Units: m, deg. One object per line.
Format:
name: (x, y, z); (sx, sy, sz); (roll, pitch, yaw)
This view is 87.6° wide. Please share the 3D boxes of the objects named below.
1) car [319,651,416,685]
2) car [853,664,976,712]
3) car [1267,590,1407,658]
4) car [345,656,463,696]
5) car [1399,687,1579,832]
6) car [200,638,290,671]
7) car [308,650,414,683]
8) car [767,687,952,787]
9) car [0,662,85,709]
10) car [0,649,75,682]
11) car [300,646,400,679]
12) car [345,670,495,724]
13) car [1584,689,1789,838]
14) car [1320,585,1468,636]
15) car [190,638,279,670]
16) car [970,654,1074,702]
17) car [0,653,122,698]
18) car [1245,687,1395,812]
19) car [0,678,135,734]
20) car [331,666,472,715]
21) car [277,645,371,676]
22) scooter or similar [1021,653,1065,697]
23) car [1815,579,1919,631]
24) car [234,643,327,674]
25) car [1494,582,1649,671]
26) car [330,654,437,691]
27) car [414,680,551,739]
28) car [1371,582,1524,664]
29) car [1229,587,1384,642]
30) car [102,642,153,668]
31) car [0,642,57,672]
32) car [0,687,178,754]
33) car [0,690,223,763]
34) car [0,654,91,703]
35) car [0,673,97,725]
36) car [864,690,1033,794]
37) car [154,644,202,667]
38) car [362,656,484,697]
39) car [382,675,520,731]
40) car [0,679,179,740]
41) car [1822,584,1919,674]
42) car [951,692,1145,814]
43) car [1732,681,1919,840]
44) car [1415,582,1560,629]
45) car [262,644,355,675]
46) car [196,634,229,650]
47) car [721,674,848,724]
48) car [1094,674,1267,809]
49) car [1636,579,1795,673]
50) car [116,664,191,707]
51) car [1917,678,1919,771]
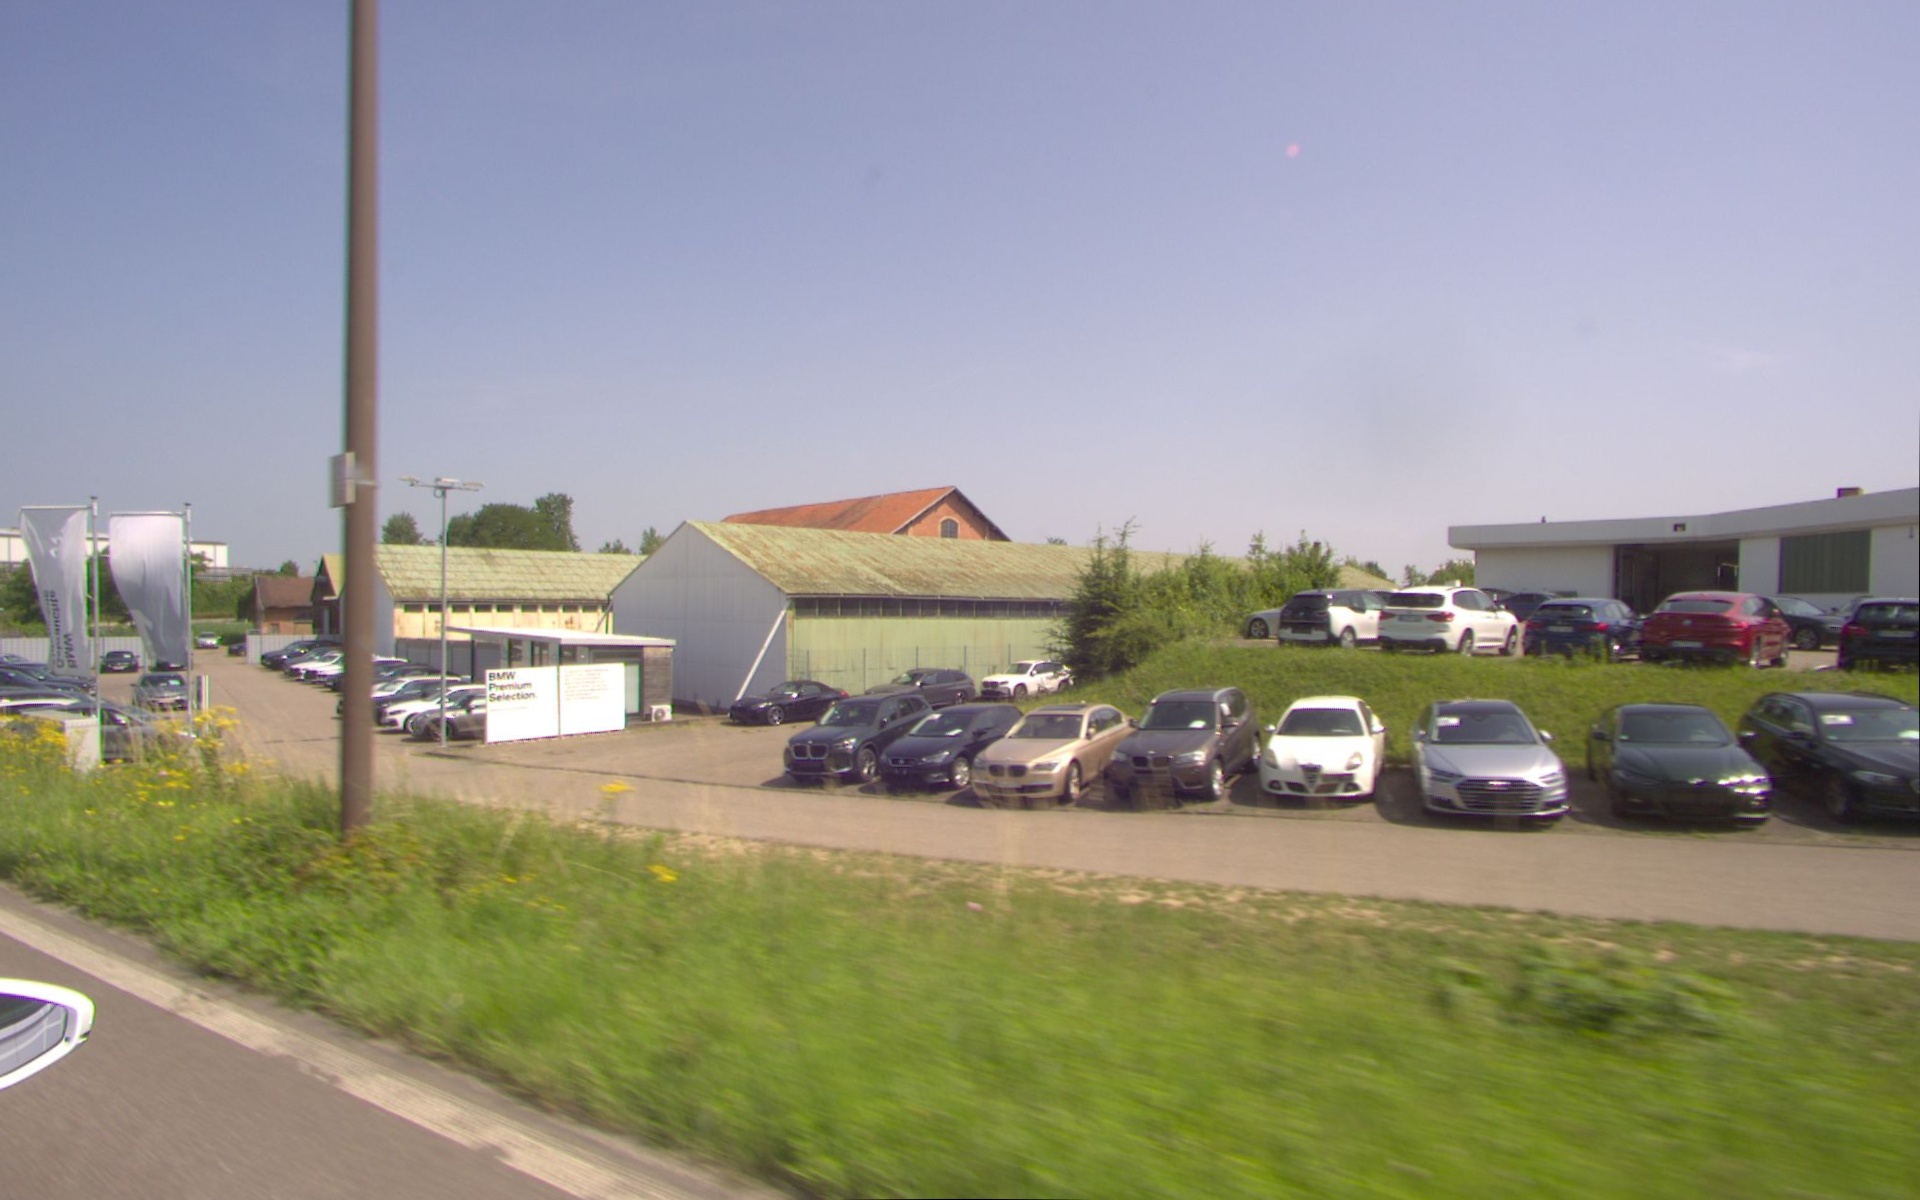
car: (-30.431, 3.468, 51.556); (1.731, 1.543, 3.994); (-1, -1, 28)
car: (-1.631, 3.202, 37.106); (4.416, 1.490, 1.964); (2, -2, -44)
car: (9.435, 0.535, 24.962); (3.848, 1.553, 1.751); (-1, 1, -43)
car: (-26.209, 3.542, 47.403); (1.902, 1.543, 4.600); (-1, -1, 28)
car: (8.183, 2.377, 15.908); (1.890, 1.485, 4.423); (-3, 1, 20)
car: (-45.288, 3.423, 63.508); (1.879, 1.828, 4.326); (1, 0, 23)
car: (-32.498, 3.565, 54.457); (1.882, 1.543, 4.642); (-1, -1, 28)
car: (-2.079, 2.914, 22.140); (2.113, 1.661, 4.482); (-2, -1, 24)
car: (-33.803, 2.978, 34.929); (4.570, 1.543, 1.850); (1, -1, -25)
car: (-49.403, 3.406, 52.202); (4.574, 1.626, 1.848); (1, 0, -28)
car: (-34.470, 3.495, 56.743); (1.879, 1.543, 4.601); (1, 0, 23)
car: (-19.414, 3.433, 36.154); (1.905, 1.543, 4.414); (0, 0, 34)
car: (10.751, 2.310, 15.151); (1.894, 1.431, 4.242); (-3, 1, 28)
car: (14.827, 0.322, 34.384); (1.901, 1.617, 4.266); (-1, 1, -40)
car: (-47.355, 3.491, 65.476); (1.965, 1.828, 4.326); (1, 0, 23)
car: (2.587, 3.146, 41.119); (4.276, 1.752, 1.903); (1, -2, -44)
car: (-38.953, 3.216, 42.972); (4.163, 1.724, 1.914); (1, 1, -19)
car: (6.443, 2.488, 17.599); (1.845, 1.484, 4.243); (-3, 0, 28)
car: (-28.515, 3.272, 31.103); (4.109, 1.543, 1.848); (1, -1, -27)
car: (-21.577, 3.457, 38.848); (1.909, 1.543, 4.407); (-1, -1, 39)
car: (-36.827, 3.477, 58.140); (1.879, 1.543, 4.326); (1, 0, 23)
scooter or similar: (2.747, 2.453, 33.073); (0.614, 1.331, 1.971); (0, -1, 32)
car: (29.215, 0.121, 32.090); (4.415, 1.543, 1.934); (-1, 1, -38)
car: (-41.065, 3.522, 60.643); (1.879, 1.597, 4.326); (1, 0, 23)
car: (13.638, 0.507, 22.224); (4.422, 1.770, 1.821); (-1, 1, -43)
car: (-28.433, 3.545, 49.540); (1.769, 1.543, 4.310); (-1, -1, 28)
car: (-14.837, 3.356, 31.155); (3.748, 1.543, 1.743); (1, -1, -29)
car: (11.610, 0.478, 23.720); (4.422, 1.770, 1.821); (-1, 1, -43)
car: (10.840, 0.417, 31.542); (1.901, 1.617, 4.266); (-1, 1, -40)
car: (-54.149, 3.541, 65.208); (1.830, 1.554, 4.619); (1, -1, -30)
car: (-54.115, 3.194, 56.300); (4.570, 1.518, 1.849); (1, 1, -25)
car: (-23.913, 3.222, 27.054); (4.109, 1.543, 1.744); (1, -1, -27)
car: (-21.323, 3.136, 25.255); (4.104, 1.543, 1.685); (1, -1, -23)
car: (-37.387, 3.066, 39.314); (4.568, 1.724, 1.850); (1, 1, -23)
car: (-31.345, 3.269, 32.933); (4.109, 1.543, 1.848); (1, -1, -27)
car: (-0.121, 2.843, 20.789); (1.968, 1.572, 3.987); (-3, -1, 24)
car: (-51.980, 3.673, 66.630); (1.972, 1.416, 3.979); (1, -1, -30)
car: (-24.278, 3.423, 45.440); (1.902, 1.543, 4.600); (-1, -1, 28)
car: (-17.052, 3.401, 33.602); (3.921, 1.543, 1.739); (0, -1, -36)
car: (-25.788, 3.180, 29.471); (4.110, 1.543, 1.848); (1, -1, -28)
car: (18.999, 0.520, 20.232); (4.422, 1.657, 1.931); (-1, 1, -43)
car: (1.855, 2.801, 19.330); (1.970, 1.528, 4.760); (-3, 0, 28)
car: (13.003, 2.148, 14.269); (1.890, 1.502, 4.251); (-3, 1, 19)
car: (19.392, 0.185, 36.938); (2.170, 1.617, 4.266); (-1, 1, -40)
car: (-38.746, 3.503, 59.663); (1.879, 1.597, 4.326); (1, 0, 23)
car: (-68.149, 3.800, 91.392); (1.972, 1.416, 3.979); (1, -1, -30)
car: (-5.800, 3.246, 33.419); (3.913, 1.394, 1.702); (1, -2, -44)
car: (4.159, 2.445, 18.337); (1.970, 1.771, 4.242); (-3, 0, 28)
car: (15.979, 0.471, 21.092); (4.422, 1.770, 1.931); (-1, 1, -43)
car: (-33.246, 3.455, 41.237); (2.121, 1.476, 4.490); (1, -2, -42)
car: (15.103, 2.018, 13.157); (1.890, 1.587, 4.561); (-3, 1, 19)
